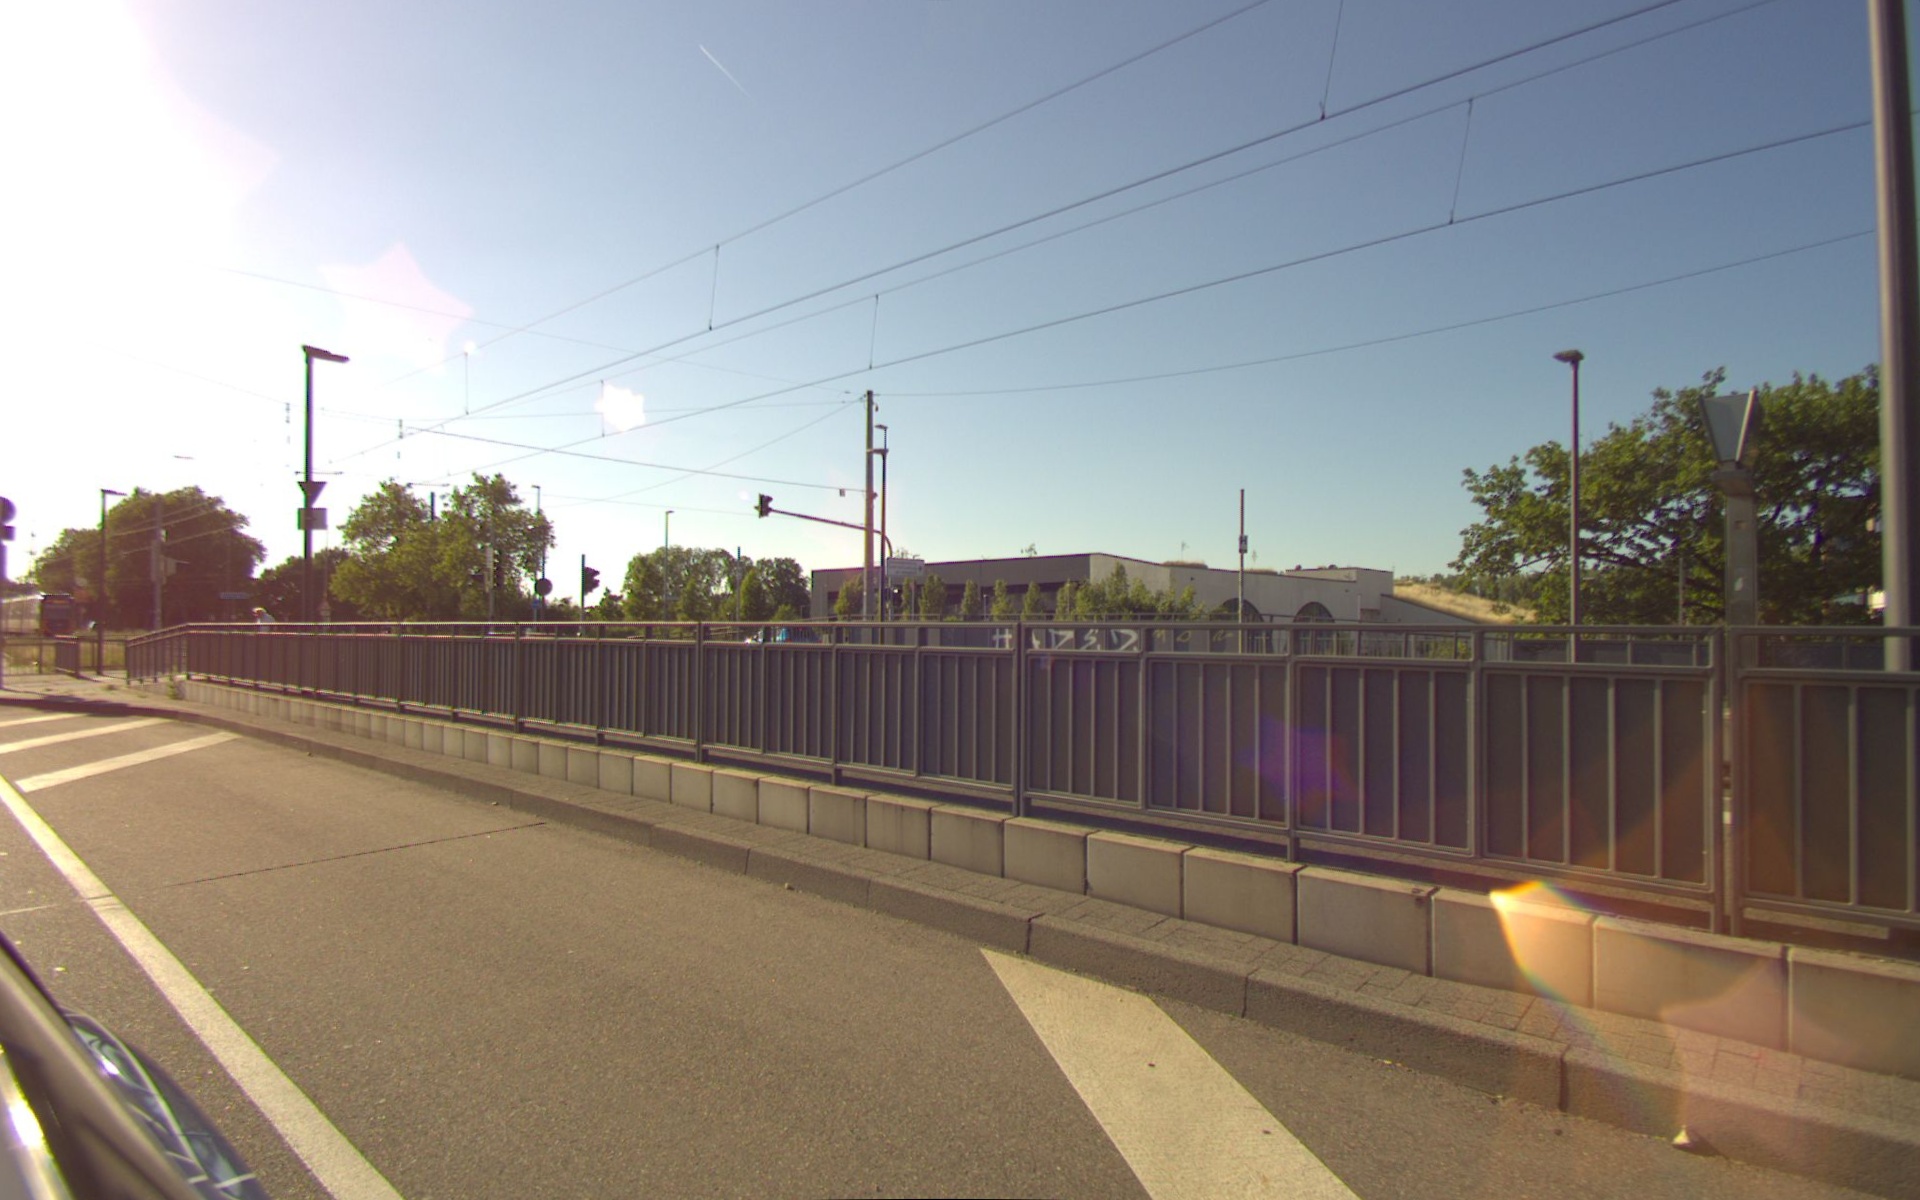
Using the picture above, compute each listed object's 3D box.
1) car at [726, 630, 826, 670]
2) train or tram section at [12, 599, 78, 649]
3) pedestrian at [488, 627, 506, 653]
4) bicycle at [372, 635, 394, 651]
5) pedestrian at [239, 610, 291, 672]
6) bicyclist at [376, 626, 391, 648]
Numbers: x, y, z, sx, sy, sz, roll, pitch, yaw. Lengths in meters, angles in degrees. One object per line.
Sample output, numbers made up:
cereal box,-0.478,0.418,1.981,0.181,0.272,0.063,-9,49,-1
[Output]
car,-7.125,1.881,38.919,3.999,1.457,1.714,-2,-2,42
train or tram section,-77.092,2.066,85.150,12.109,3.977,2.853,-2,-2,42
pedestrian,-29.607,2.538,64.714,0.878,1.621,0.713,-2,-2,42
bicycle,-42.985,3.173,75.397,2.528,1.136,0.624,-2,-2,42
pedestrian,-19.192,1.120,27.945,0.984,1.657,0.882,-1,-2,35
bicyclist,-42.981,2.763,75.446,0.835,1.629,0.760,-2,-2,42
